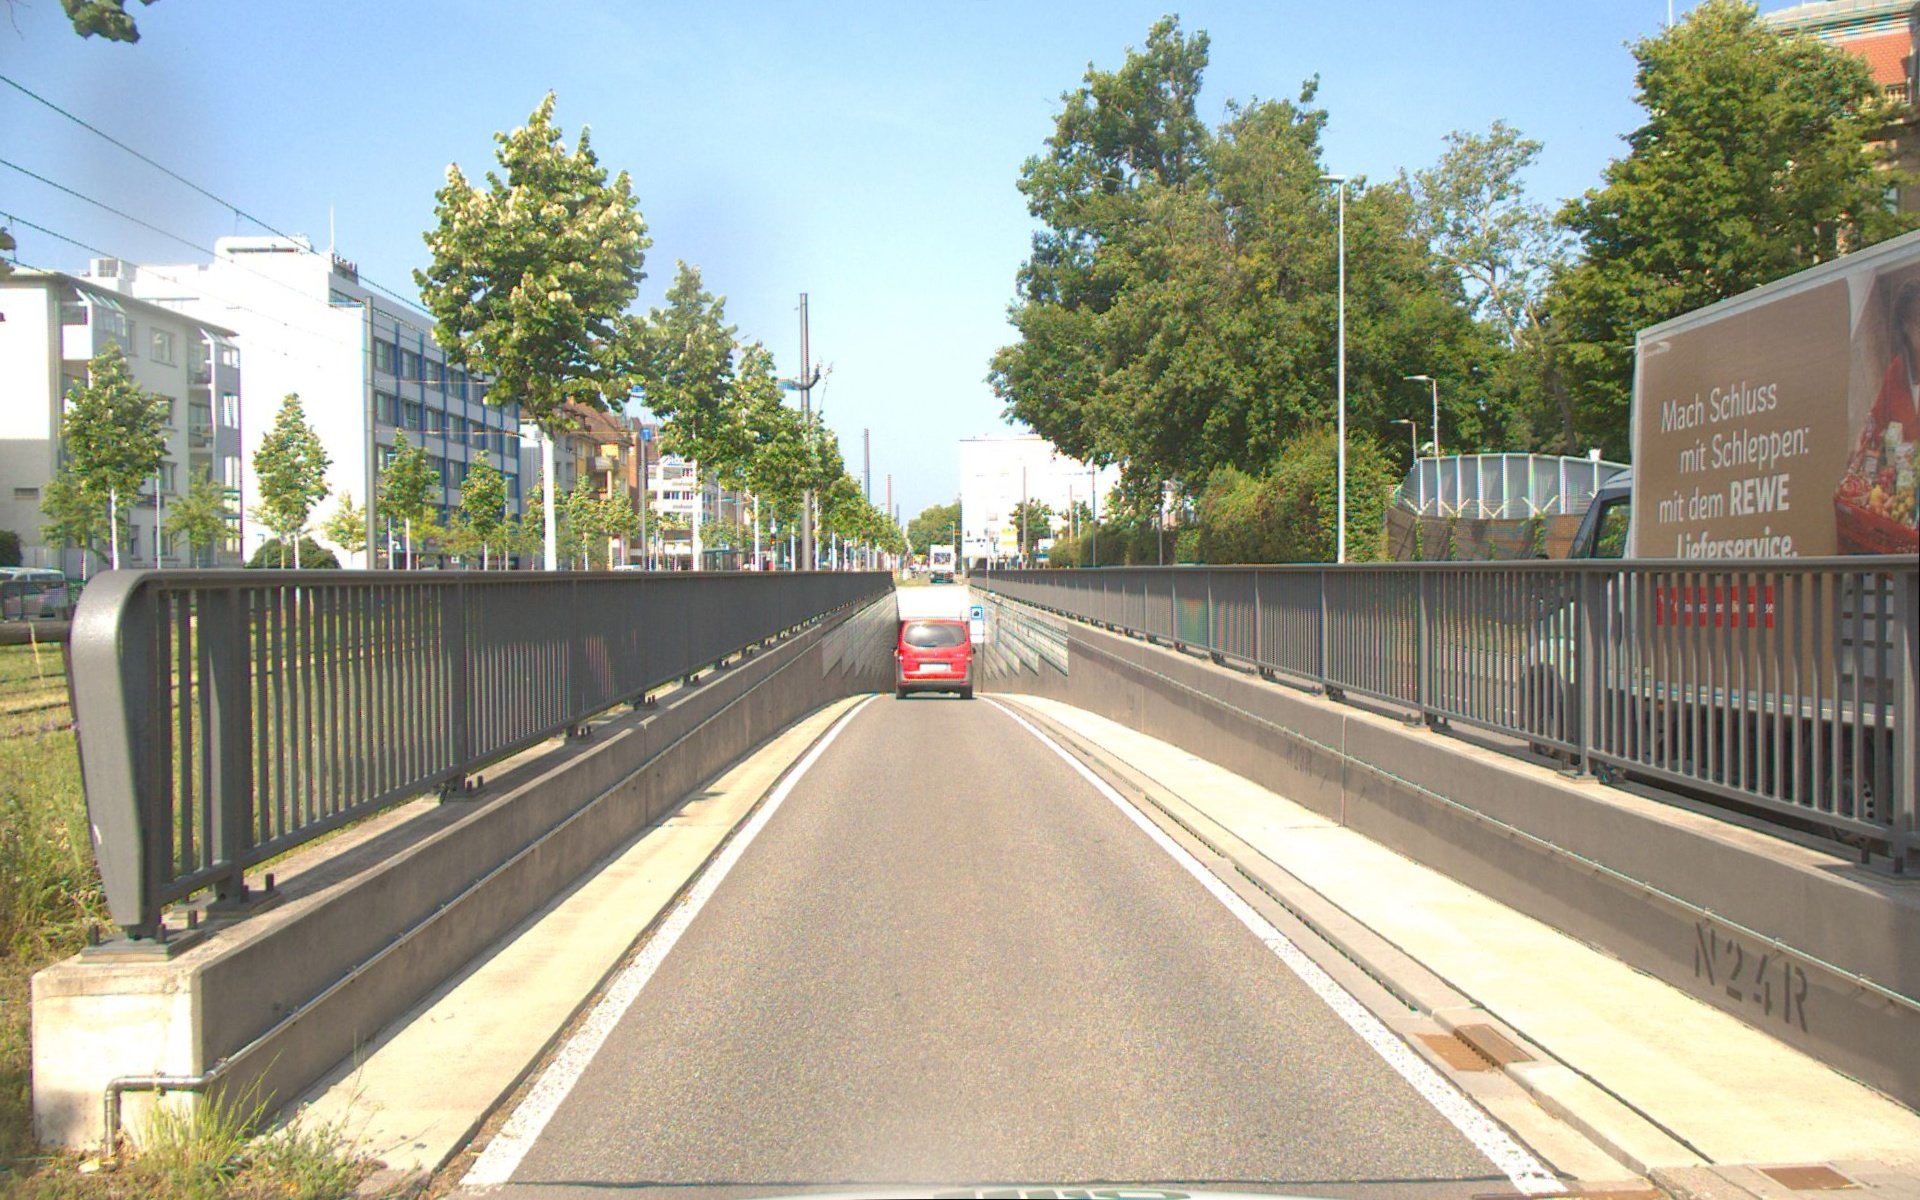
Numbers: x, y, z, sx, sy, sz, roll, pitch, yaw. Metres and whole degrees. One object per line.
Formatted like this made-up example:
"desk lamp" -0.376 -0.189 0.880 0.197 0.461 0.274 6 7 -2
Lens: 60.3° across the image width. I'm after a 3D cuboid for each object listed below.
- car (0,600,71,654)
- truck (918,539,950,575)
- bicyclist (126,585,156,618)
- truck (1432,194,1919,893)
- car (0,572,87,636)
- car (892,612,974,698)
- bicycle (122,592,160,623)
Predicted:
"car" -27.412 0.765 46.957 1.953 1.492 4.437 0 -1 -1
"truck" -2.872 -4.594 179.276 3.322 3.791 10.449 -1 1 -1
"bicyclist" -30.165 0.056 60.924 0.521 1.199 1.251 2 0 -3
"truck" 5.390 -0.246 10.076 2.452 3.114 7.817 2 0 -2
"car" -32.141 0.136 56.262 2.204 2.049 5.260 2 -1 -2
"car" -0.615 1.303 40.763 1.862 1.892 4.001 1 1 1
"bicycle" -30.177 0.276 60.962 0.521 1.112 1.875 2 0 -3
